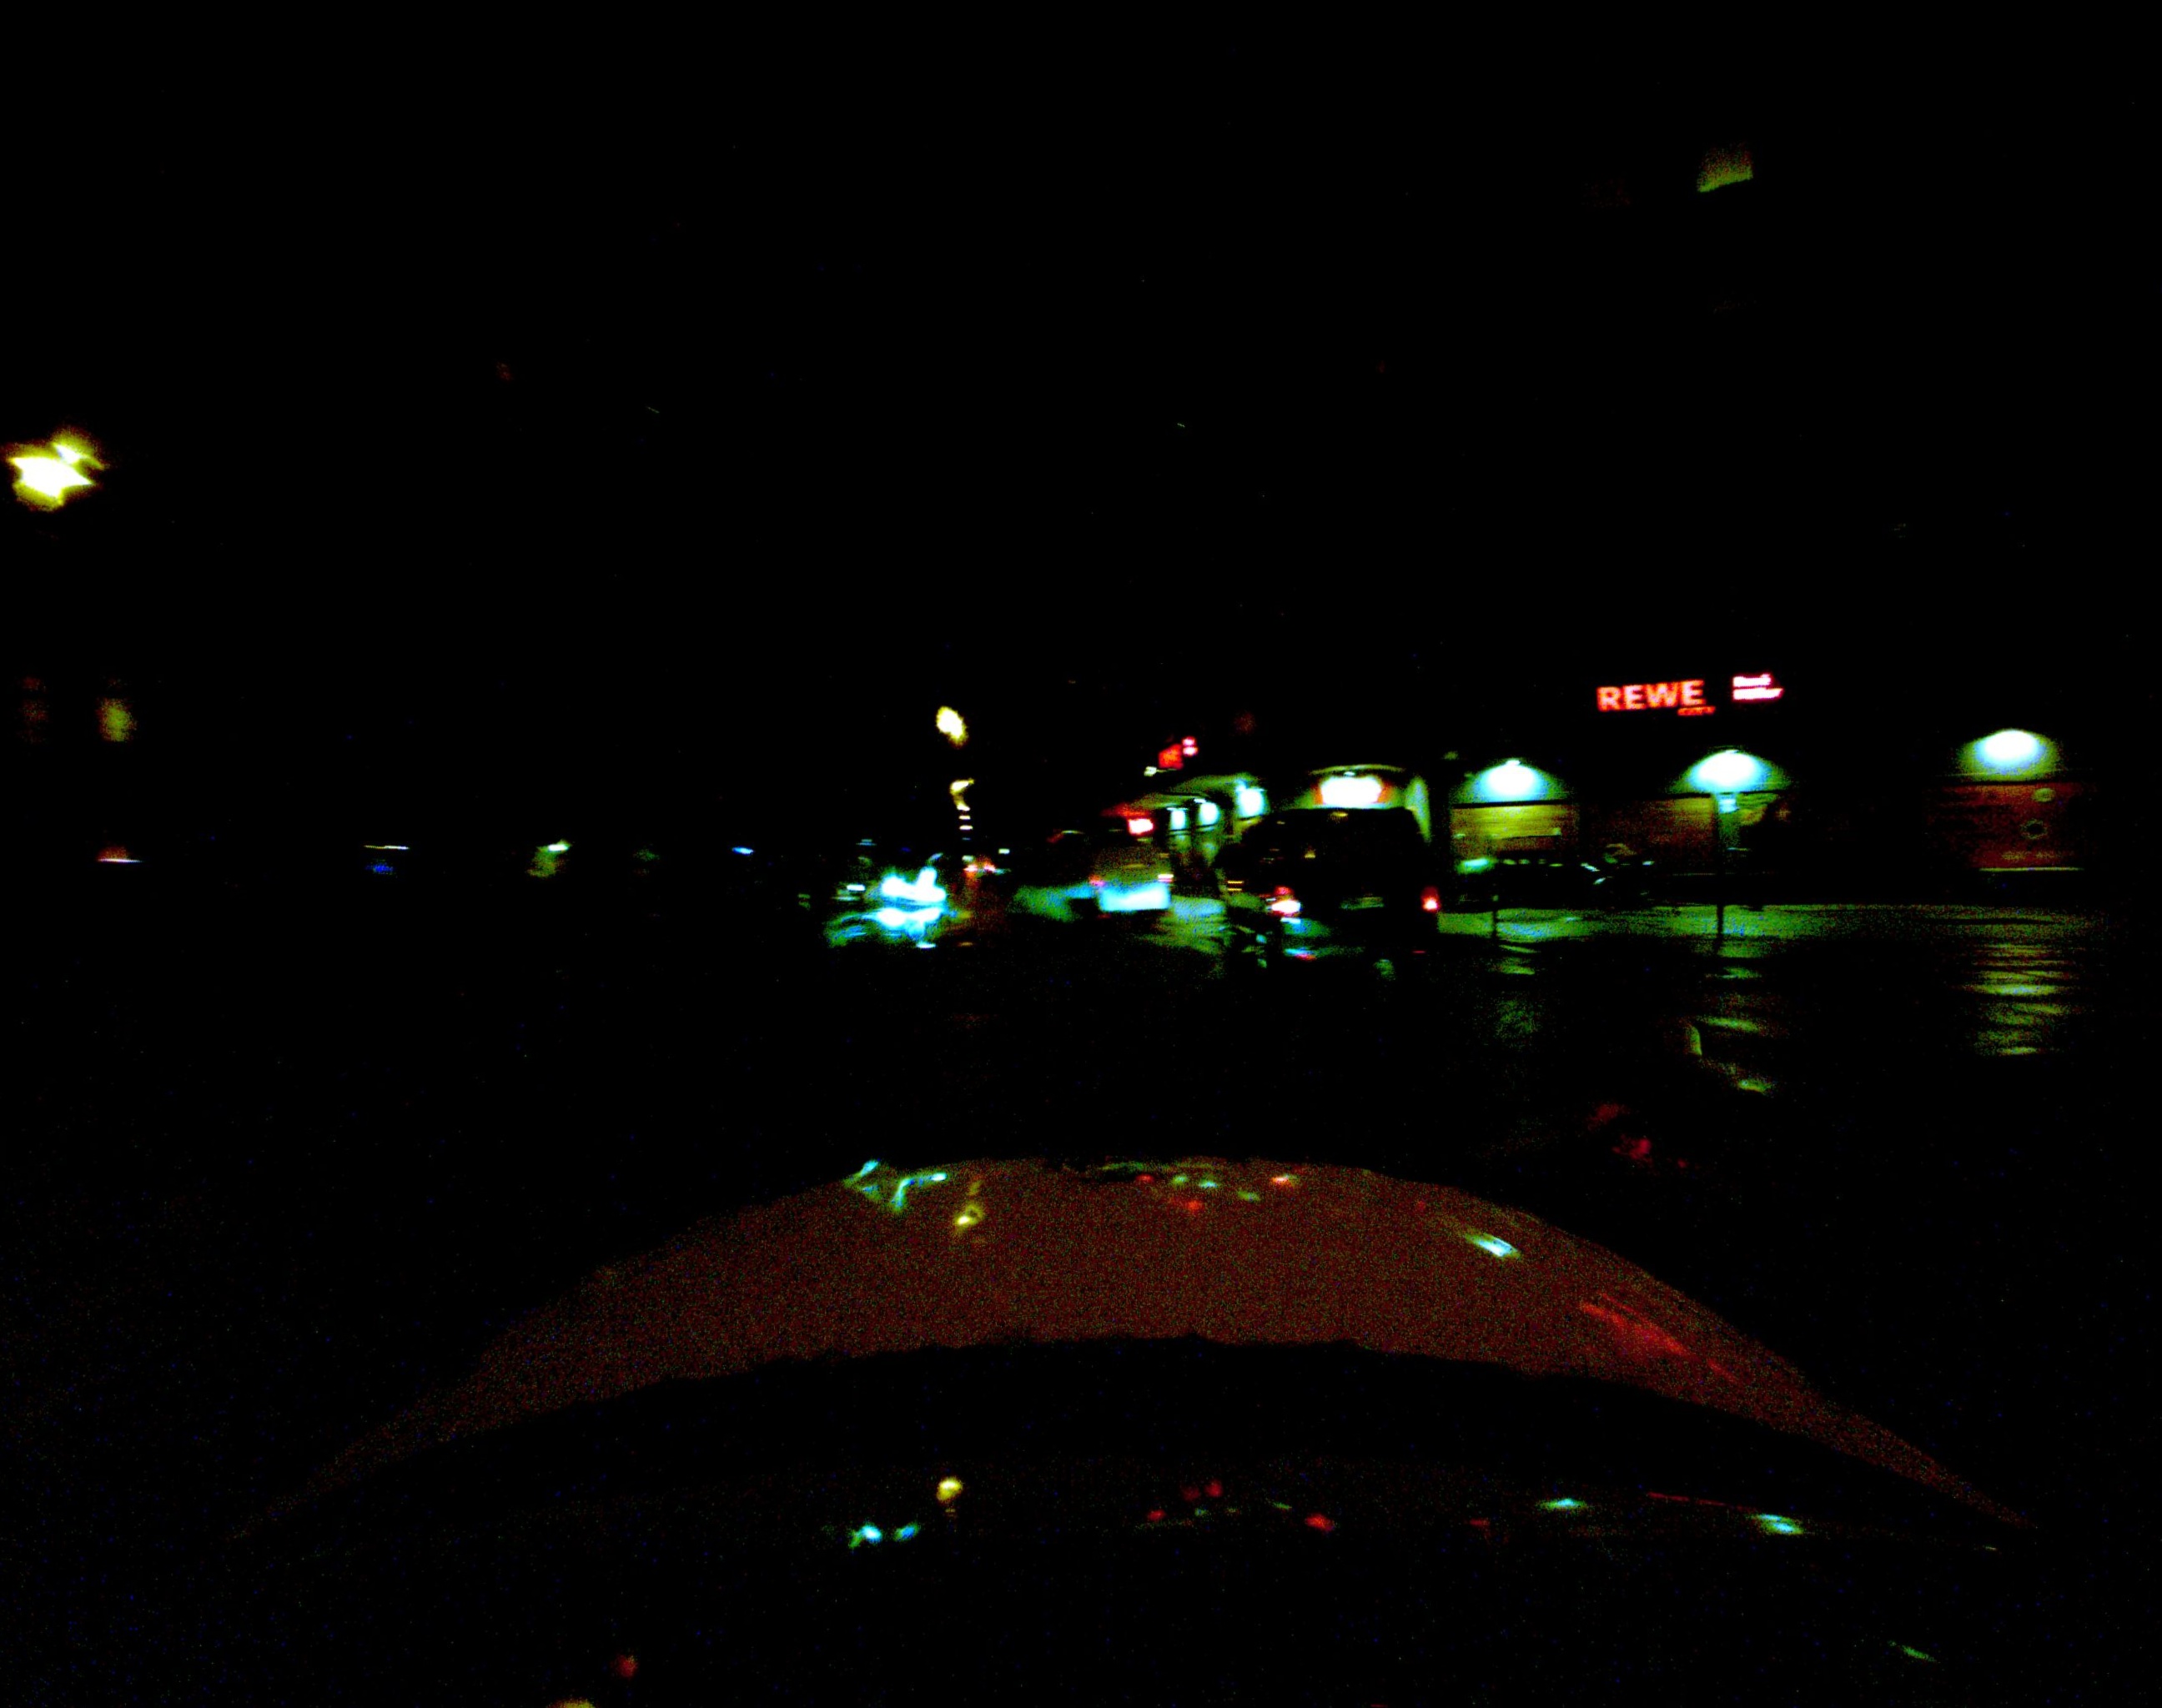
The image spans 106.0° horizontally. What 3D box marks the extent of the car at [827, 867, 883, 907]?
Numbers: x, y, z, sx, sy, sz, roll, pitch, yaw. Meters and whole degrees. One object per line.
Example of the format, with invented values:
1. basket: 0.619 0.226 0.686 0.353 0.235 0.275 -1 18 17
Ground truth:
1. car: -9.073 1.294 32.982 1.585 1.463 4.013 2 -1 -7

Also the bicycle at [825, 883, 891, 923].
1. bicycle: -6.550 1.418 23.969 1.799 1.059 0.711 -2 0 -15

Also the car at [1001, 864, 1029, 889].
1. car: -4.183 1.407 51.362 1.590 1.543 3.410 0 -2 -8

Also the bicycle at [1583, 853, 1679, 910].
1. bicycle: 11.620 0.586 17.251 1.628 1.174 0.386 0 -3 20

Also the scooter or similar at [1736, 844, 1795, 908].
1. scooter or similar: 13.766 0.418 16.404 0.520 1.229 1.320 0 0 22

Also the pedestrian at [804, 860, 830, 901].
1. pedestrian: -11.432 1.154 35.279 0.802 1.766 1.015 0 -2 -2

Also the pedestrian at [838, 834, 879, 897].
1. pedestrian: -6.542 0.328 23.992 1.124 1.811 0.711 -2 0 -15

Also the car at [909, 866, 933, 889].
1. car: -14.799 2.161 75.663 1.993 2.014 3.987 0 -1 -9

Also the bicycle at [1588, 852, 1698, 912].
1. bicycle: 11.252 0.563 16.352 1.766 1.174 0.386 -1 -1 20

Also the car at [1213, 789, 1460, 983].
1. car: 3.025 0.366 10.788 2.113 1.991 4.606 -1 -1 4

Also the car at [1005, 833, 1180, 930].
1. car: 0.080 0.574 18.908 2.134 1.922 4.784 0 -1 -26

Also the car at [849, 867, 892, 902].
1. car: -9.786 1.381 37.943 1.585 1.510 2.780 -1 -1 -8

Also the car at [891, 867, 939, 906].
1. car: -6.911 1.330 34.212 1.561 1.427 4.059 -3 0 -7
